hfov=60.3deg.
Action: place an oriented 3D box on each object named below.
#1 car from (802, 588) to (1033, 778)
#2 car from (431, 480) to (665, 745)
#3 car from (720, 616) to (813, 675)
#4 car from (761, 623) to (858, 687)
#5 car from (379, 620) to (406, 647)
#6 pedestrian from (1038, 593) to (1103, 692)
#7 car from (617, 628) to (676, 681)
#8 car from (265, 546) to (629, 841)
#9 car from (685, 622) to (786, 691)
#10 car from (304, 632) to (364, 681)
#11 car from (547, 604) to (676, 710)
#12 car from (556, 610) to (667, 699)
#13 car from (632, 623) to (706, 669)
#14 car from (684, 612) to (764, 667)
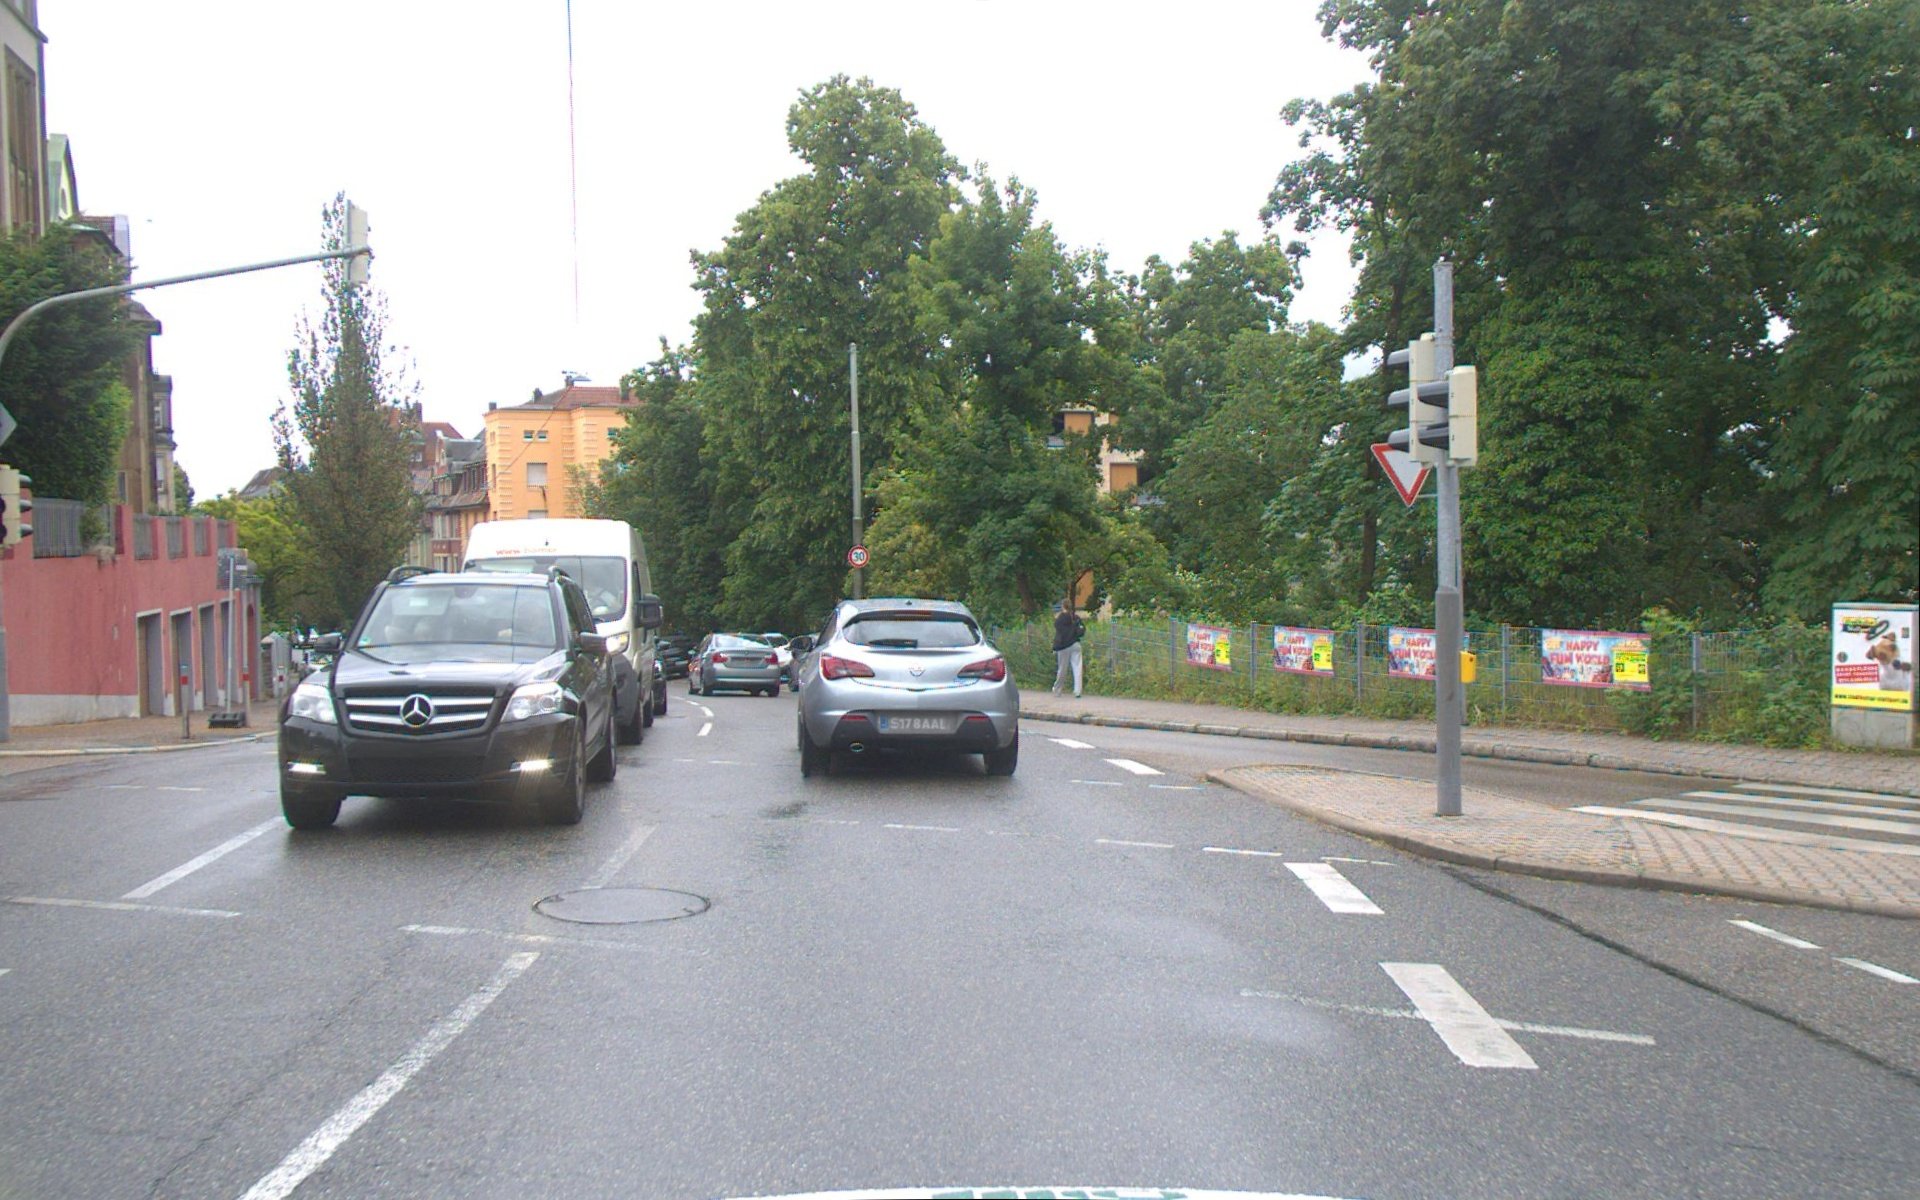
[{"bbox_3d":[-0.518,0.646,14.950,1.780,1.455,3.995,-1,0,-6],"label":"car"},{"bbox_3d":[-4.592,0.164,19.234,2.078,2.590,5.528,-1,-1,-9],"label":"car"},{"bbox_3d":[-6.016,1.428,51.018,1.790,1.520,3.974,-7,0,-21],"label":"car"},{"bbox_3d":[-3.804,1.370,41.270,1.623,1.429,3.794,-3,-1,-17],"label":"car"},{"bbox_3d":[-42.895,2.531,124.894,1.757,1.887,3.973,0,-2,-22],"label":"car"},{"bbox_3d":[1.900,0.737,28.622,0.753,1.633,0.962,-4,-1,-15],"label":"pedestrian"},{"bbox_3d":[-9.133,1.550,48.011,1.361,1.436,3.440,-1,-1,-16],"label":"car"},{"bbox_3d":[-3.382,0.533,11.712,1.787,1.681,4.338,0,0,-8],"label":"car"},{"bbox_3d":[-5.149,1.295,37.598,1.747,1.455,3.768,-1,-2,-16],"label":"car"},{"bbox_3d":[-22.062,2.006,58.398,1.787,1.641,3.979,0,-2,-18],"label":"car"},{"bbox_3d":[-5.474,0.857,25.804,1.784,1.455,3.986,-2,-1,-13],"label":"car"},{"bbox_3d":[-7.023,1.063,33.052,1.844,1.602,4.565,-1,-1,-16],"label":"car"},{"bbox_3d":[-11.626,1.867,65.851,1.949,1.637,4.454,-4,-1,-22],"label":"car"},{"bbox_3d":[-8.142,1.350,56.829,1.794,1.712,4.777,-4,0,-19],"label":"car"}]
